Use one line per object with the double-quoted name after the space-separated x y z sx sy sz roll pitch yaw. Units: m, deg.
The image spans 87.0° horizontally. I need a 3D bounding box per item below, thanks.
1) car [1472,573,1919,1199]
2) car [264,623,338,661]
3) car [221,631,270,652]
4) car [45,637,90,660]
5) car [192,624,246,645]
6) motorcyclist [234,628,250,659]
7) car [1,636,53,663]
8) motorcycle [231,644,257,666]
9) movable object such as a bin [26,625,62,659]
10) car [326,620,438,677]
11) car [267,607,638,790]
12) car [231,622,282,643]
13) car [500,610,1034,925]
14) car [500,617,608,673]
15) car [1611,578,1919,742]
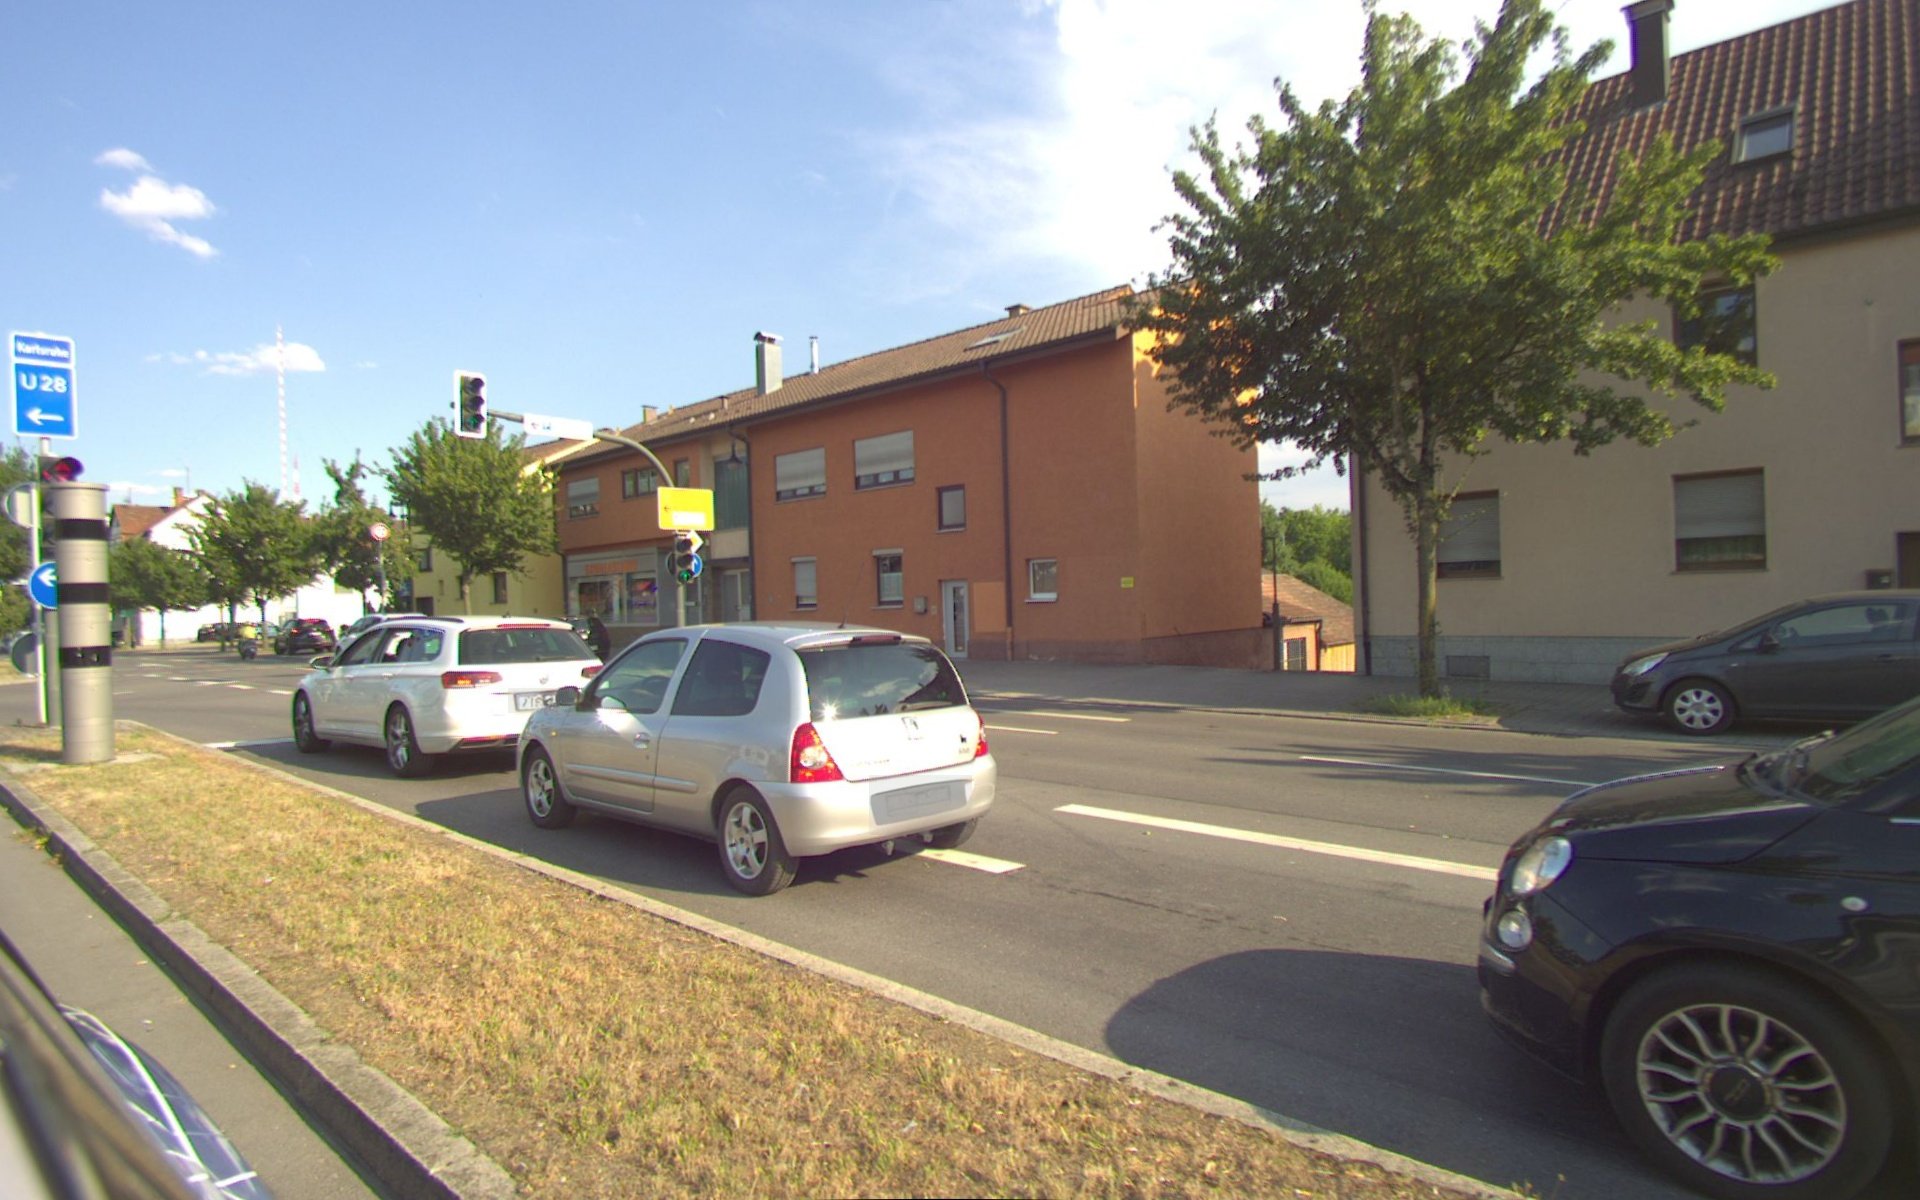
3.193 0.649 2.093 3.505 1.473 1.516 -3 -2 42 "car"
-29.768 1.904 45.668 4.460 1.607 1.834 -3 -2 43 "car"
-57.879 3.374 82.037 1.566 1.576 3.429 -1 -1 2 "car"
-60.196 3.258 68.234 3.997 1.422 1.739 -3 -2 41 "car"
-60.167 2.847 82.240 1.836 1.638 3.410 0 -2 -1 "car"
-29.071 1.775 40.976 0.461 1.238 0.399 -3 -2 39 "motorcyclist"
-53.031 2.800 57.488 3.997 1.422 1.739 -3 -2 41 "car"
-28.928 2.229 40.868 1.762 0.867 0.408 -3 -2 40 "motorcycle"
-70.204 3.222 77.552 4.977 2.480 1.536 -2 -3 43 "movable object such as a bin"
-17.974 1.464 31.381 4.411 1.624 1.668 -2 -1 41 "car"
-5.428 0.894 10.533 4.562 1.500 1.816 -3 -2 40 "car"
-55.744 2.580 80.278 1.599 1.555 3.429 -1 -2 2 "car"
-1.413 0.813 6.473 3.579 1.438 1.571 -2 -1 44 "car"
-12.293 1.351 30.515 3.777 1.449 1.574 -3 2 45 "car"
9.154 0.575 10.465 3.883 1.522 1.497 -3 0 41 "car"
